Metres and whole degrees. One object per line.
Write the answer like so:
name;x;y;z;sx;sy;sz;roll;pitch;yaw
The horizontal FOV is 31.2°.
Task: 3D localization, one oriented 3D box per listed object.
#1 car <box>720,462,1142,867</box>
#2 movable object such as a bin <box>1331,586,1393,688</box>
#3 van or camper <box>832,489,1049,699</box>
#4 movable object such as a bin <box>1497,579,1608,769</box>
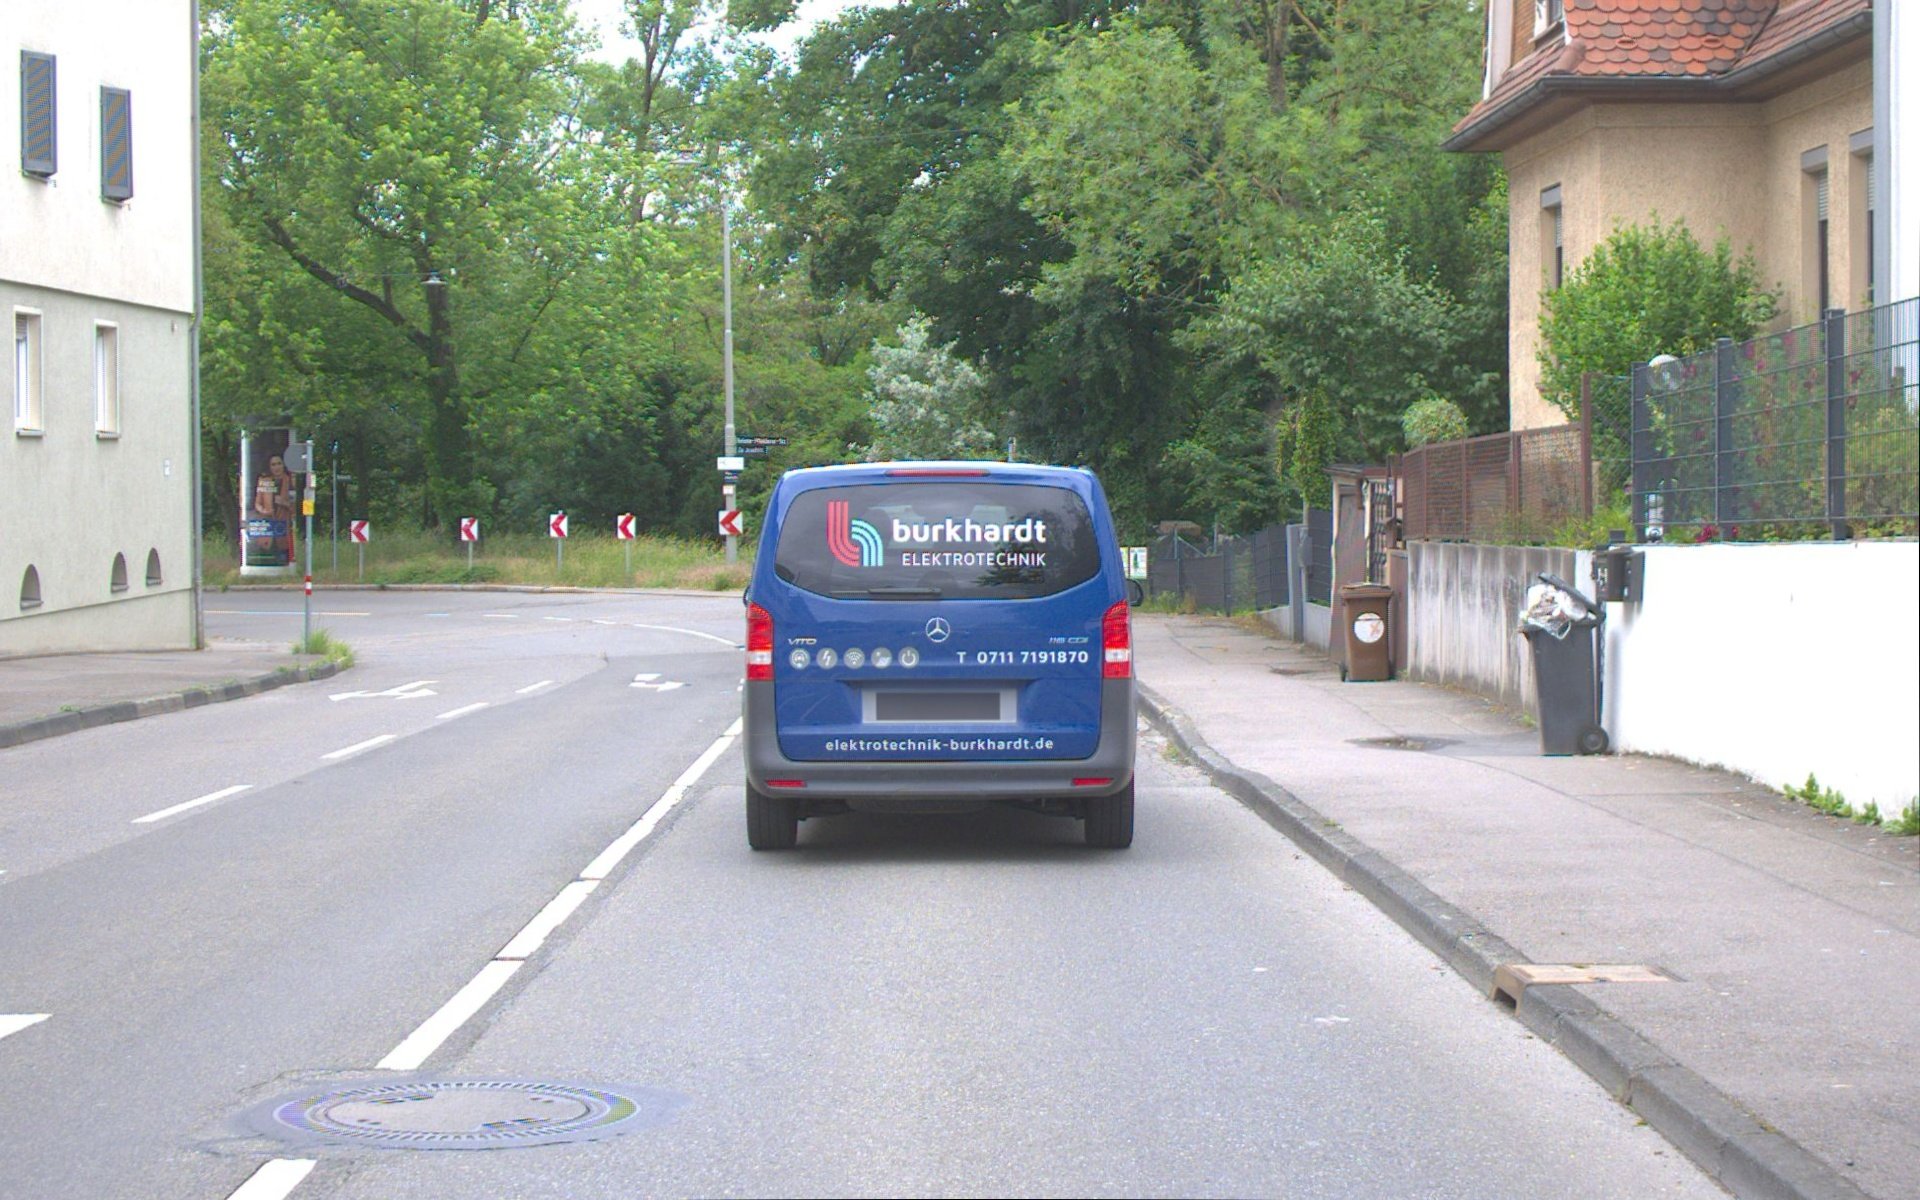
car;-0.234;0.250;17.739;1.913;1.831;4.294;0;1;-3
movable object such as a bin;3.813;0.348;32.622;0.461;0.921;0.566;-4;1;-1
van or camper;-0.254;-0.118;36.241;2.019;1.950;4.897;-3;2;-1
movable object such as a bin;3.834;0.468;22.273;0.527;1.174;0.634;-4;1;-1
